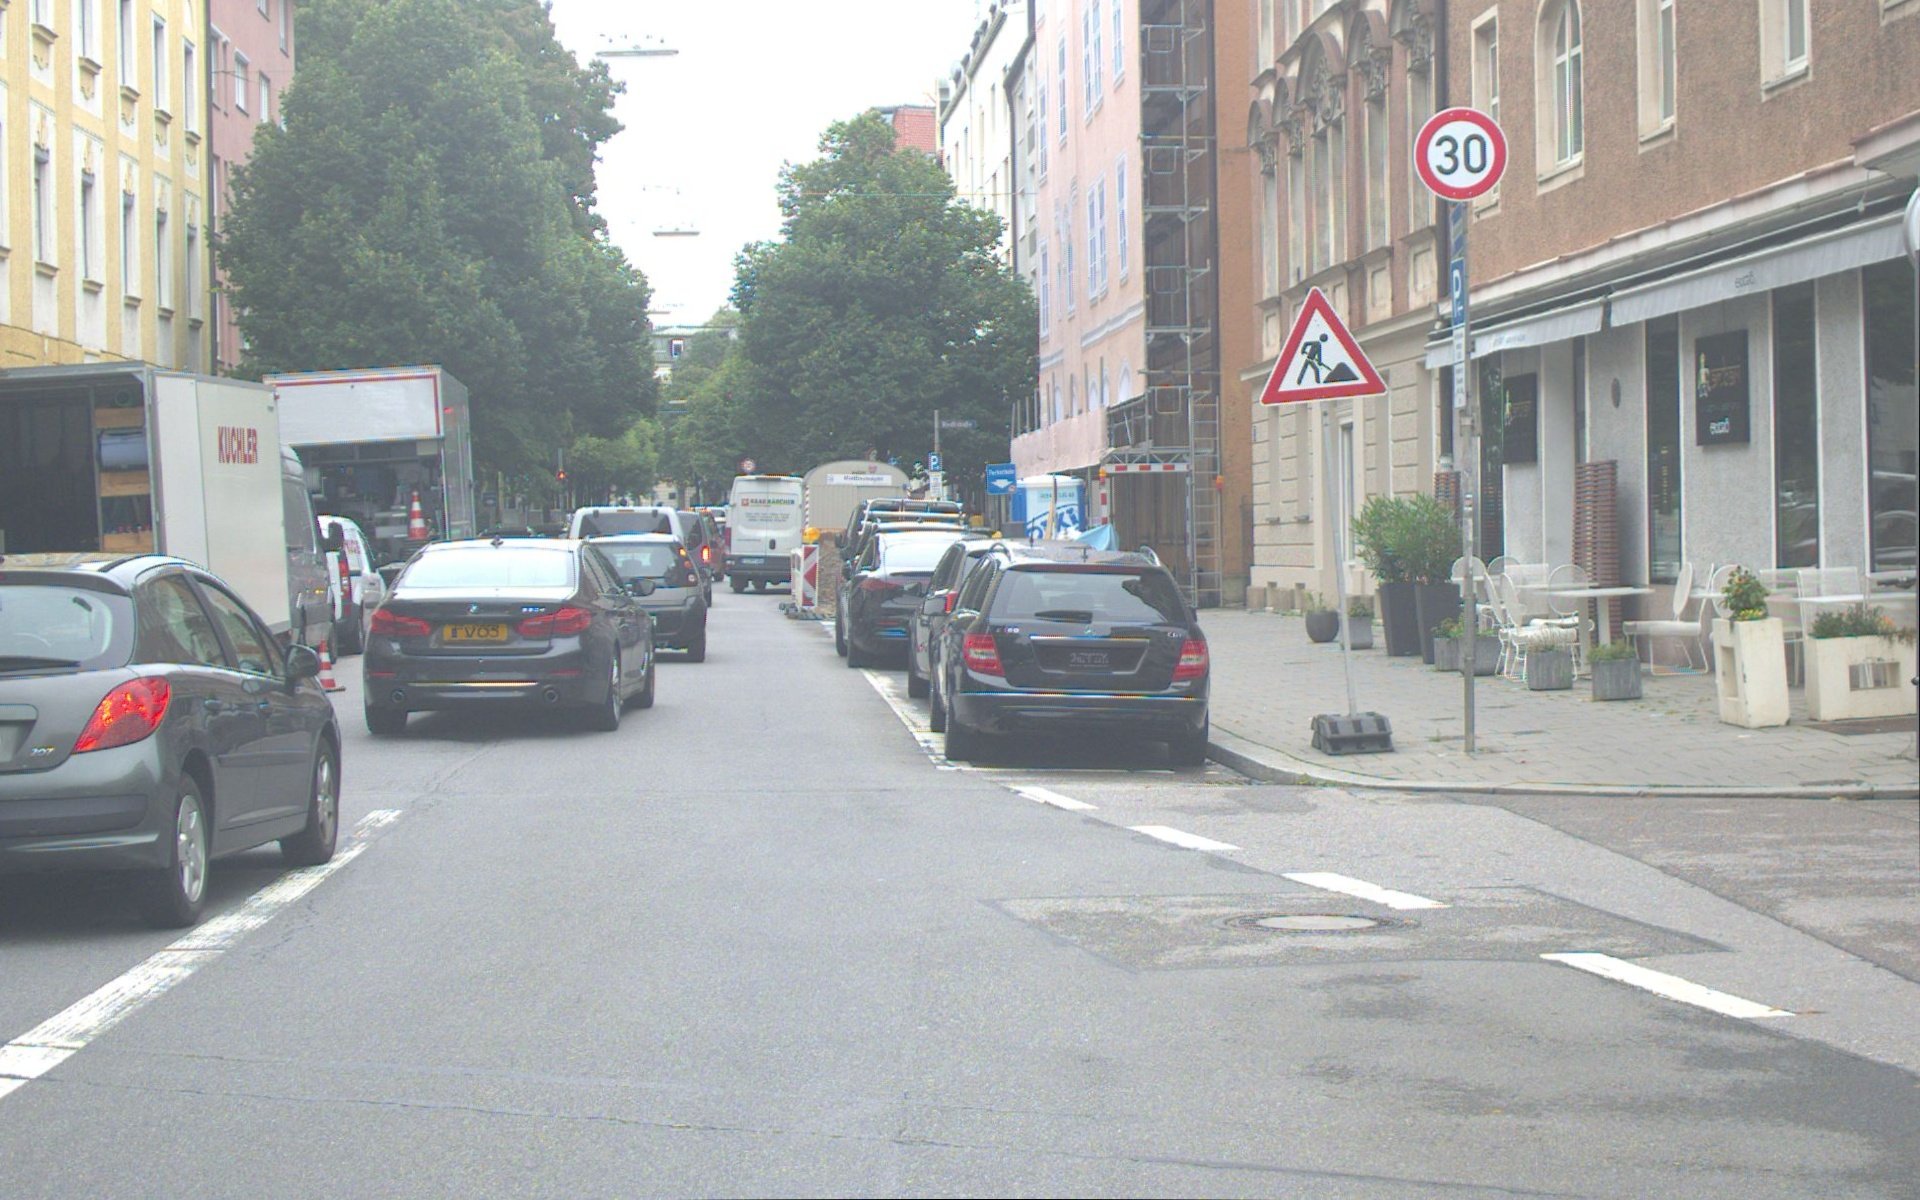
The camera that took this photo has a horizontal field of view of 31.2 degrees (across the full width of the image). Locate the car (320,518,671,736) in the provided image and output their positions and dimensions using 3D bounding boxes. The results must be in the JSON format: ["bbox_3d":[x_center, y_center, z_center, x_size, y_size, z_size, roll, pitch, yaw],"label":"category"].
[{"bbox_3d":[-3.483,0.131,26.682,1.990,1.424,4.906,1,2,1],"label":"car"}]

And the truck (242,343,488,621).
[{"bbox_3d":[-8.916,-1.751,52.251,3.012,3.938,6.997,0,1,-4],"label":"truck"}]

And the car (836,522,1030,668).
[{"bbox_3d":[-0.368,-0.103,38.626,1.844,1.424,4.307,2,2,-4],"label":"car"}]

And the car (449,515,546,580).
[{"bbox_3d":[-10.597,-1.218,78.964,1.939,1.443,3.867,0,1,-4],"label":"car"}]

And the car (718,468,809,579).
[{"bbox_3d":[-4.500,-1.758,79.273,1.939,2.472,4.783,0,1,-1],"label":"car"}]

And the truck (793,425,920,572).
[{"bbox_3d":[-2.233,-2.122,72.342,2.491,2.963,5.328,0,1,-4],"label":"truck"}]

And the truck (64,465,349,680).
[{"bbox_3d":[-8.042,-0.334,37.164,2.286,2.164,4.807,0,1,-4],"label":"truck"}]

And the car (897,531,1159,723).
[{"bbox_3d":[0.513,0.177,29.832,1.844,1.424,4.141,2,2,-4],"label":"car"}]

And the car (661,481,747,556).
[{"bbox_3d":[-6.621,-2.116,89.265,1.993,1.897,4.000,0,1,-1],"label":"car"}]

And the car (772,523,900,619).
[{"bbox_3d":[-2.038,-0.499,56.035,1.990,1.424,4.141,-1,2,-2],"label":"car"}]

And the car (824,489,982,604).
[{"bbox_3d":[-0.815,-0.759,46.385,1.990,1.424,4.141,-1,2,-2],"label":"car"}]

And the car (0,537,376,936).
[{"bbox_3d":[-3.755,0.476,14.720,1.759,1.456,4.074,-1,1,0],"label":"car"}]

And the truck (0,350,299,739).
[{"bbox_3d":[-7.516,-0.528,29.020,2.773,2.863,7.203,-1,2,-3],"label":"truck"}]

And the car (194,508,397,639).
[{"bbox_3d":[-8.559,-0.370,44.625,1.990,1.605,4.141,0,1,-2],"label":"car"}]

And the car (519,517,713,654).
[{"bbox_3d":[-3.937,-0.212,39.930,1.990,1.424,4.141,-1,2,-2],"label":"car"}]

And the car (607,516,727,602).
[{"bbox_3d":[-5.310,-0.776,62.716,1.990,1.424,4.141,-1,2,-2],"label":"car"}]

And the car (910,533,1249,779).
[{"bbox_3d":[0.726,0.315,23.816,1.844,1.424,4.184,2,2,-4],"label":"car"}]

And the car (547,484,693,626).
[{"bbox_3d":[-5.197,-0.735,53.001,1.990,2.068,4.141,-1,2,-2],"label":"car"}]
